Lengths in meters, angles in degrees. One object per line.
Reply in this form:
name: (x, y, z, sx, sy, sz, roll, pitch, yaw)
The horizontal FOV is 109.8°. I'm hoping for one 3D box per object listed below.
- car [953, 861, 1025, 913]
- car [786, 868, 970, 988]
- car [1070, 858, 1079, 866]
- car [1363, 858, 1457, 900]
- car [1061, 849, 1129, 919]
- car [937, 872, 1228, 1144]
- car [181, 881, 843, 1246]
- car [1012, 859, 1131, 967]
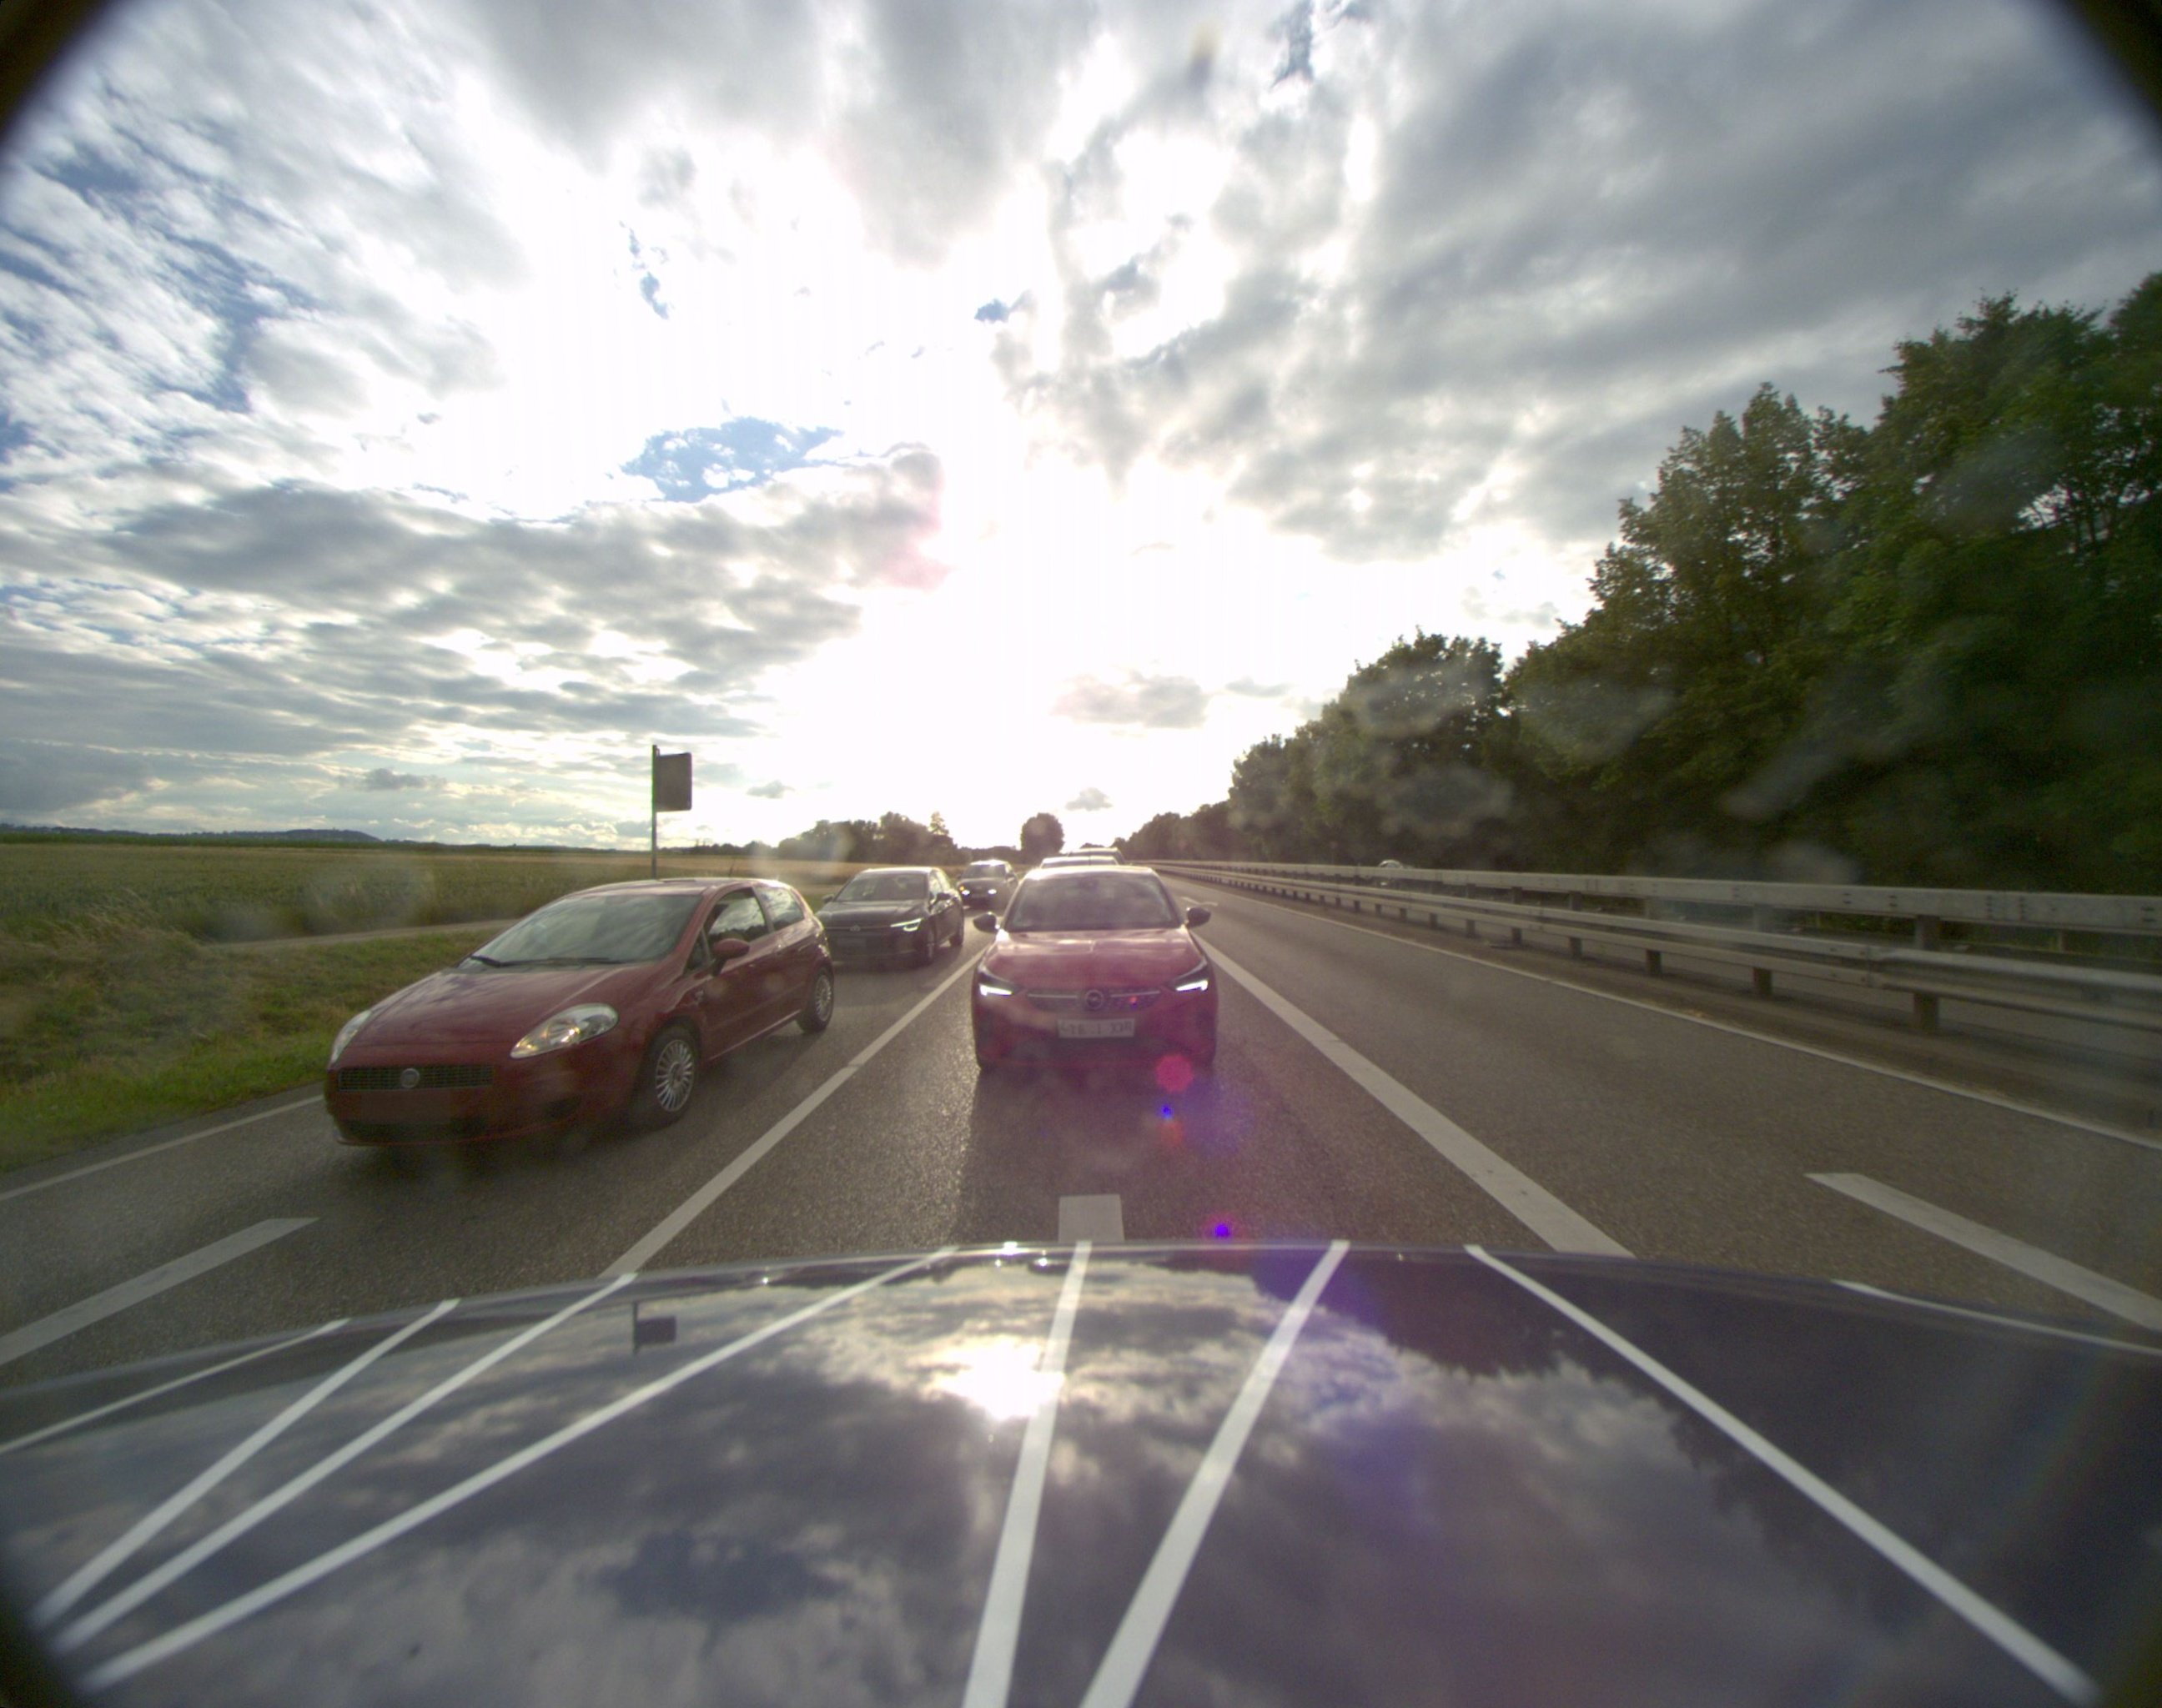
car: (-2.971, 1.029, 25.264, 1.799, 1.448, 4.032, -2, 1, 1)
car: (-3.052, 1.042, 12.336, 1.799, 1.448, 4.032, -2, 1, 1)
car: (-1.346, 1.563, 153.981, 1.751, 1.550, 3.731, -2, 1, 1)
car: (13.333, 0.952, 31.089, 1.920, 1.448, 4.373, -2, 1, 0)
car: (0.393, 0.754, 21.476, 1.671, 1.730, 4.032, -2, 1, 1)
car: (0.043, 0.991, 6.655, 1.712, 1.448, 4.061, -2, 1, 1)
car: (-3.247, 1.043, 5.473, 1.712, 1.448, 3.908, -2, 1, 1)
car: (-0.108, 0.888, 13.292, 1.712, 1.448, 4.061, -2, 1, 1)
